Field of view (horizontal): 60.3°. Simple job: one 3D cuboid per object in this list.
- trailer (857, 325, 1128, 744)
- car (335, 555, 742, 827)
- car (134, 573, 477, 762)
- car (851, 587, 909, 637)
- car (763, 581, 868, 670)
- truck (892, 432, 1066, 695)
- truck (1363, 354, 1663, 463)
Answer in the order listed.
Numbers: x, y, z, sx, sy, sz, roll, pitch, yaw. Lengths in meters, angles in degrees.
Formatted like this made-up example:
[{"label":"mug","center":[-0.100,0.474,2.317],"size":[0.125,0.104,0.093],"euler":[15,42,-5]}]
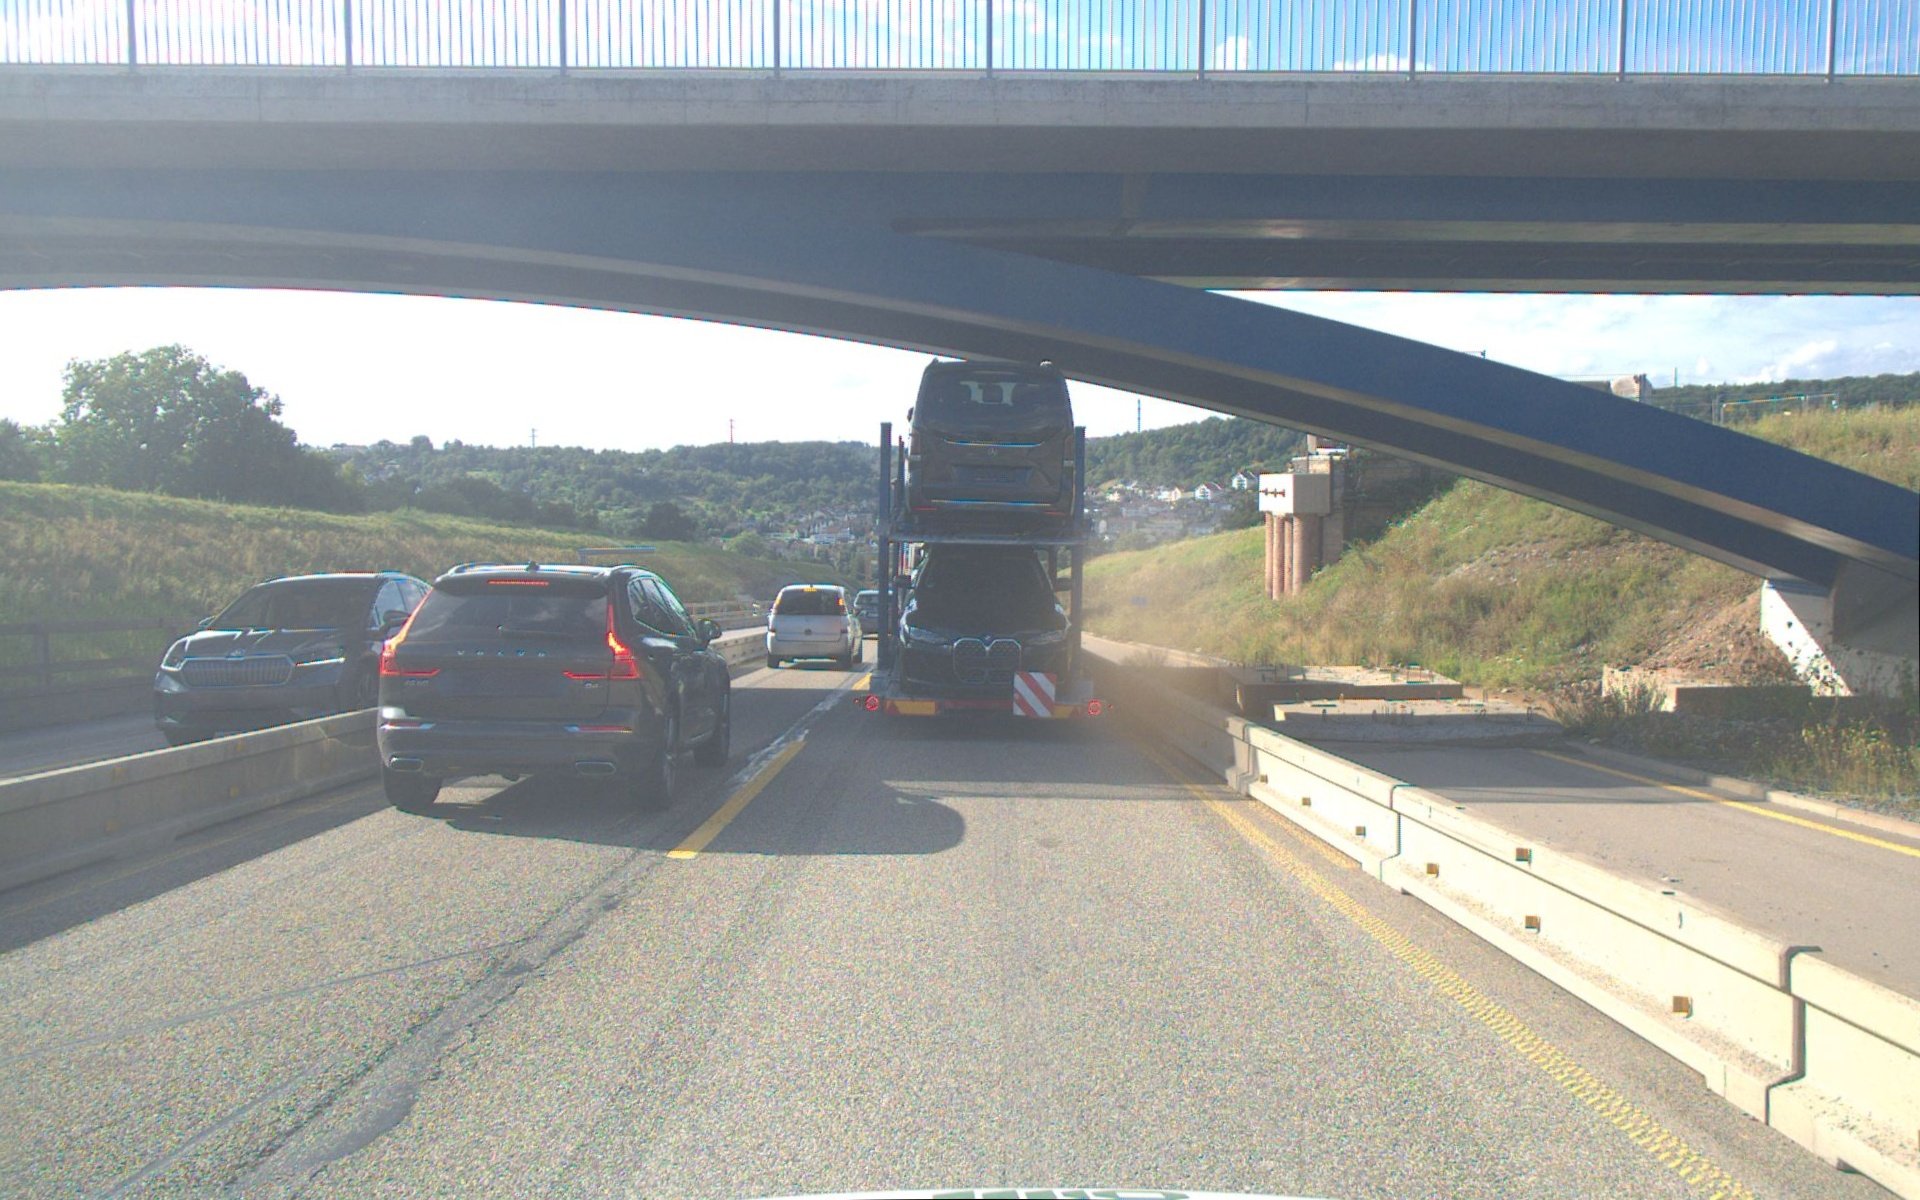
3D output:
[{"label":"trailer","center":[0.257,-0.653,21.958],"size":[2.653,4.099,11.417],"euler":[0,0,-1]},{"label":"car","center":[-2.872,0.533,12.433],"size":[1.953,1.653,4.749],"euler":[0,0,-2]},{"label":"car","center":[-6.408,0.576,16.753],"size":[1.786,1.590,4.217],"euler":[-2,1,-1]},{"label":"car","center":[-2.586,0.358,54.070],"size":[1.760,1.557,4.294],"euler":[0,0,-1]},{"label":"car","center":[-2.804,0.467,32.987],"size":[1.760,1.624,4.742],"euler":[1,0,-1]},{"label":"truck","center":[0.250,-0.554,28.149],"size":[2.623,3.990,6.026],"euler":[0,0,-1]},{"label":"truck","center":[18.406,-6.373,55.403],"size":[9.074,3.284,2.959],"euler":[0,0,-1]}]
